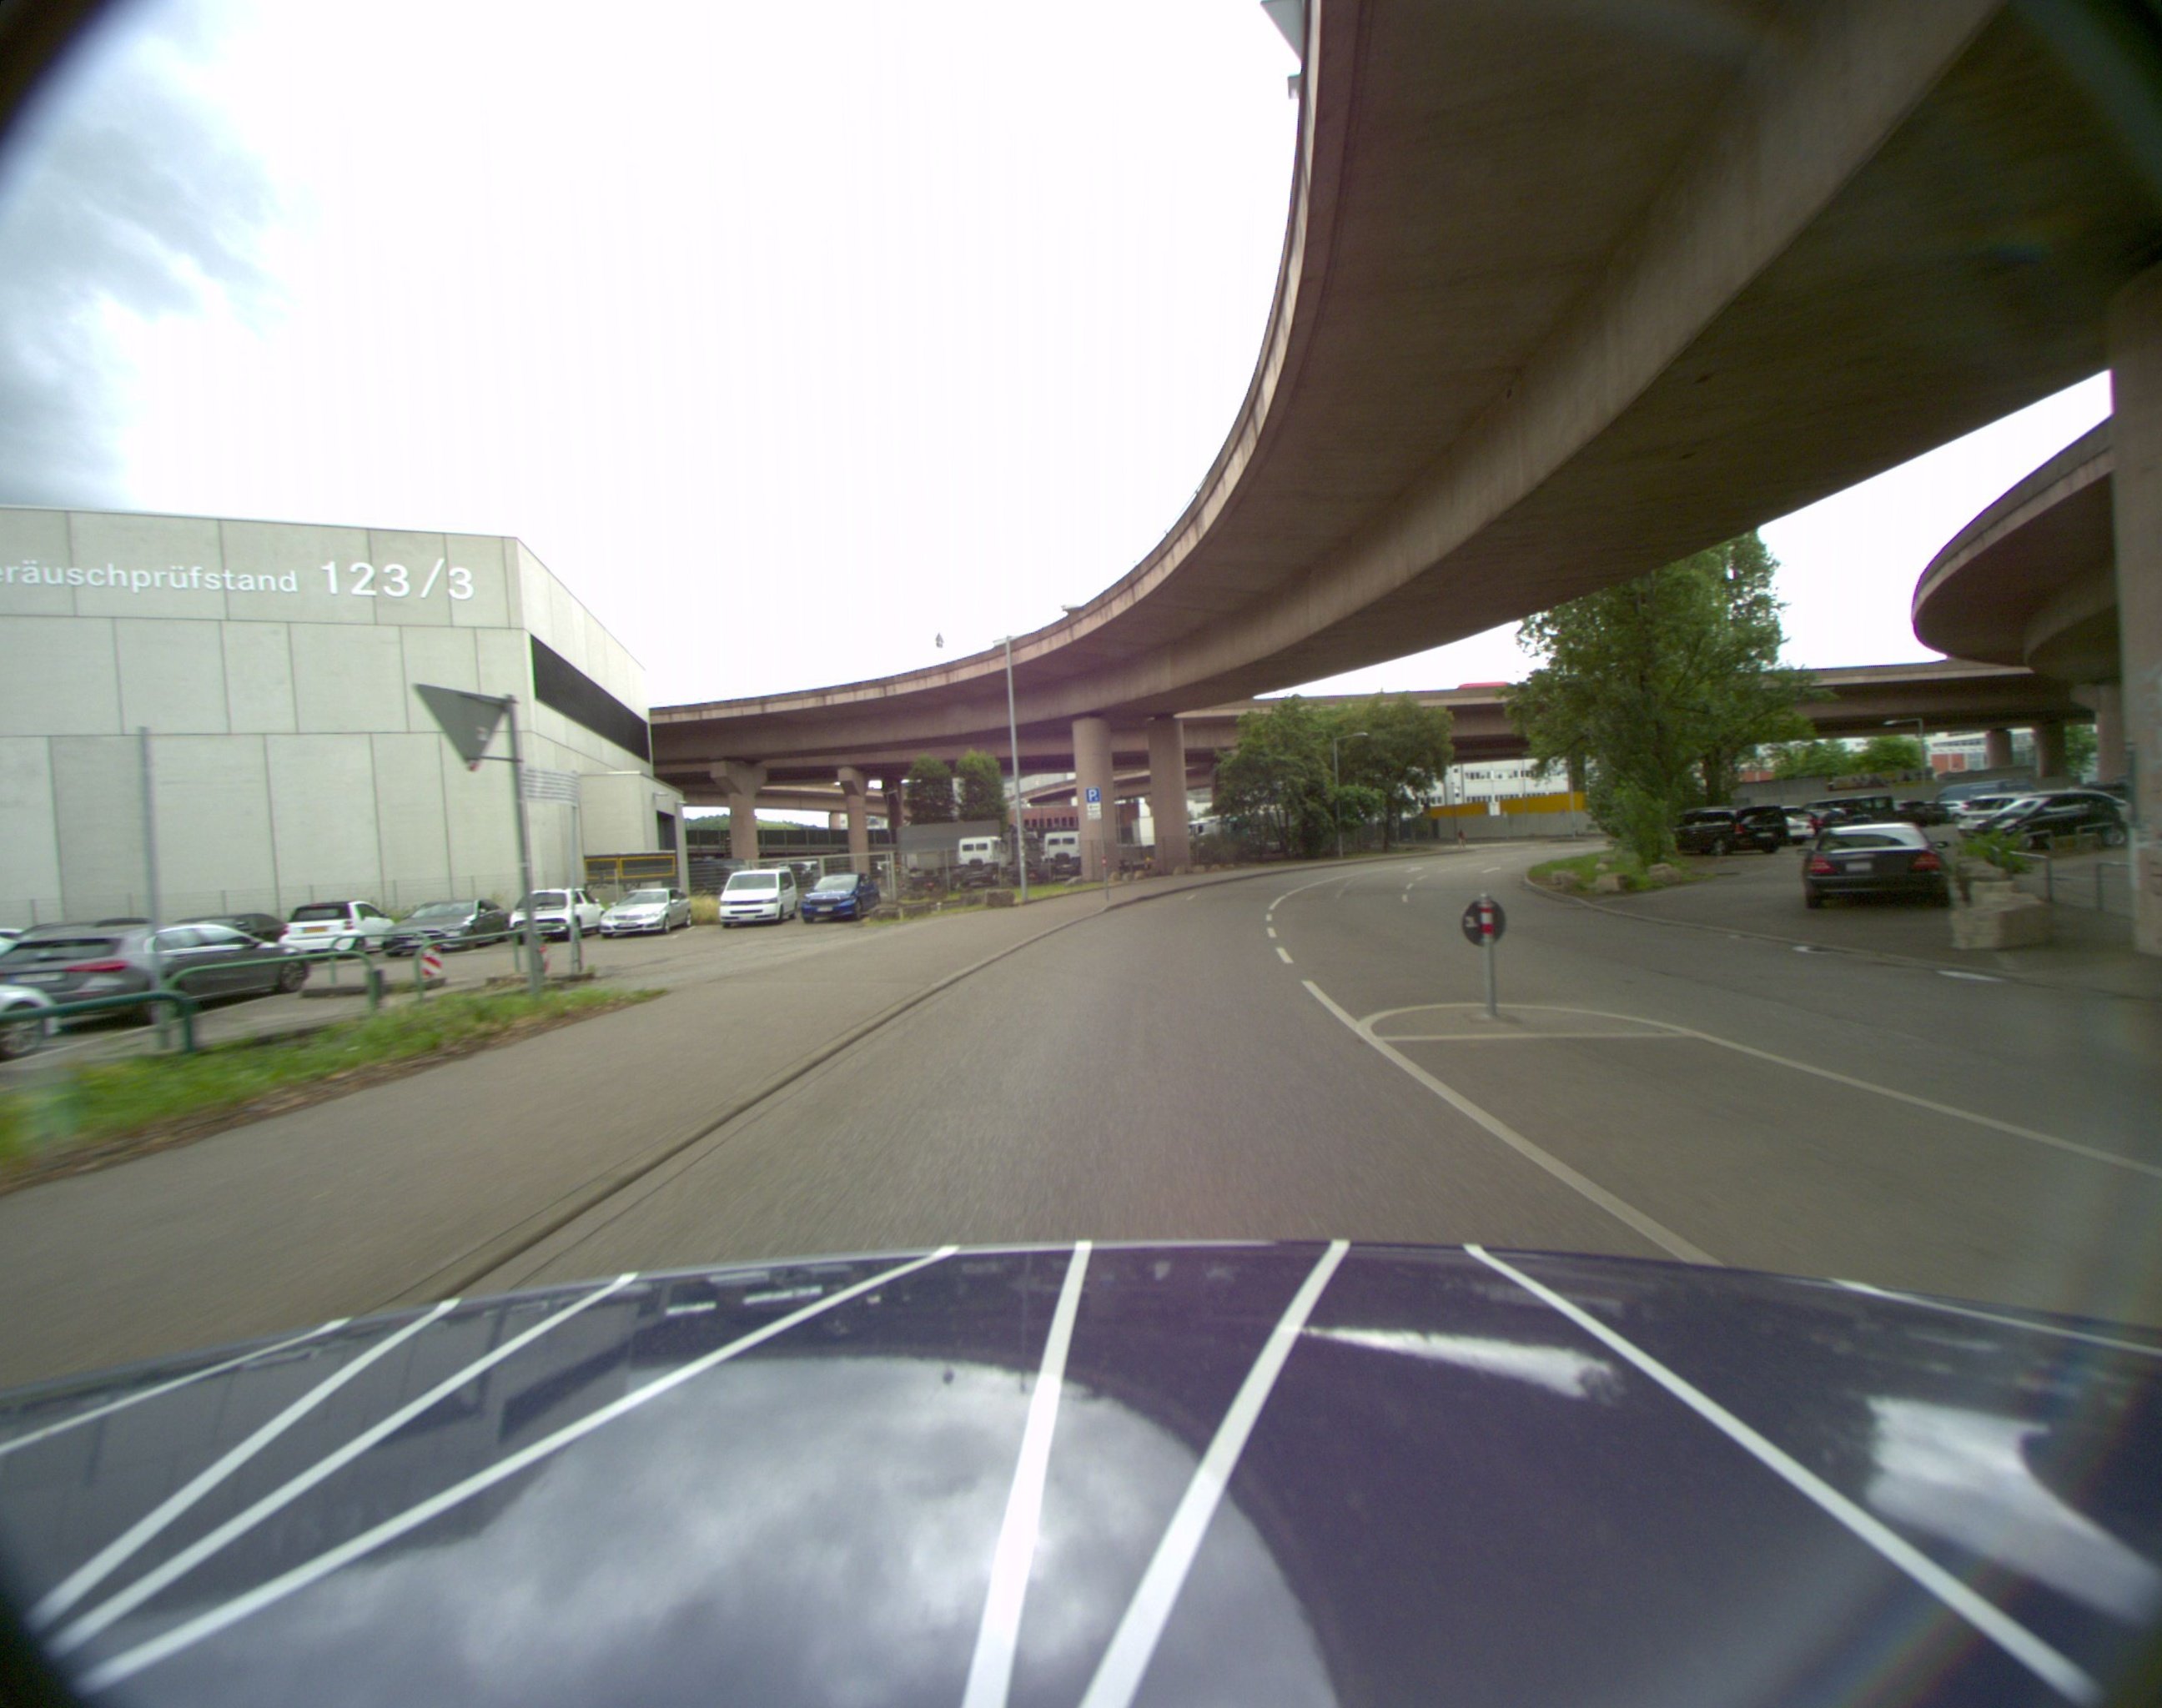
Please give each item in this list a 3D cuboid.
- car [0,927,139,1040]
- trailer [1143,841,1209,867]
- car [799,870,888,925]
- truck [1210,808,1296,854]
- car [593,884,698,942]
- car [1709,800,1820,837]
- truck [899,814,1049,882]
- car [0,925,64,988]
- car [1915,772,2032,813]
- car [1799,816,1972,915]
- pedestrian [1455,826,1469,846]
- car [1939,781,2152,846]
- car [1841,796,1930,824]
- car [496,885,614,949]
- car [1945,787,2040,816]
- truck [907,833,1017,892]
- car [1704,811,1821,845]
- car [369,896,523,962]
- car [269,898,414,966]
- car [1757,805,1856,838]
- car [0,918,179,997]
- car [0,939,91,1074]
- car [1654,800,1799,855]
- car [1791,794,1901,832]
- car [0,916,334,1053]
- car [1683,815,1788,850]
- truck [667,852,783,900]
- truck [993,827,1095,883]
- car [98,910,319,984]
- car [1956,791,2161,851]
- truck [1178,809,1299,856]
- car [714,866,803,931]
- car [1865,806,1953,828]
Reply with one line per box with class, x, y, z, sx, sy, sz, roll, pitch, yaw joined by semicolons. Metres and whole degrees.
car;-17.122;2.079;11.193;1.840;1.504;4.494;-3;0;-18
trailer;5.979;-0.024;47.396;4.390;1.324;1.601;-4;2;-44
car;-8.398;1.482;27.324;1.774;1.625;4.684;-3;0;-2
truck;13.944;-1.857;61.731;6.415;3.389;2.267;-3;2;-15
car;-13.940;1.826;24.626;1.776;1.448;4.549;-3;0;-15
car;34.298;-1.763;38.320;1.694;1.664;4.678;-3;2;5
truck;-7.869;-0.474;55.841;10.142;4.340;3.908;-3;0;-18
car;-27.852;2.685;18.433;1.777;1.448;4.353;-3;0;-23
car;59.220;-4.019;50.612;1.826;2.567;5.688;-1;3;10
car;14.602;0.148;13.893;4.782;1.422;1.824;-4;-1;-44
pedestrian;32.774;-1.550;65.437;0.856;1.671;0.752;-5;2;-40
car;30.249;-1.240;23.947;4.058;1.697;1.736;-3;1;8
car;47.471;-2.608;44.917;1.355;1.556;3.626;-2;3;0
car;-16.131;1.860;23.552;1.777;1.579;4.354;-3;0;-19
car;62.003;-3.574;51.815;1.632;1.846;4.493;-1;3;10
truck;-6.352;0.379;41.426;2.453;2.869;6.129;-3;1;31
car;31.270;-1.168;35.069;1.694;1.356;4.517;-3;1;7
car;-17.931;2.049;21.746;1.777;1.376;4.355;-3;0;-17
car;-20.780;2.131;21.516;1.624;1.535;3.093;-3;0;-17
car;36.597;-1.621;38.443;1.694;1.528;3.628;-3;2;5
car;-25.254;2.513;18.916;1.777;1.448;4.353;-3;0;-23
car;-12.996;1.840;7.285;1.859;1.466;4.680;-3;0;-18
car;25.563;-1.036;30.384;1.855;1.906;4.974;-3;1;5
car;42.674;-2.297;42.572;1.853;2.003;4.723;-1;3;9
car;-14.632;1.925;12.243;1.840;1.417;4.435;-3;0;-18
car;28.366;-0.934;33.088;1.563;1.372;3.705;-3;1;5
truck;-25.465;1.562;54.748;6.933;2.915;3.047;-3;0;-15
truck;-1.849;-0.019;41.963;2.419;2.728;7.246;-3;0;25
car;-22.980;2.371;20.314;1.777;1.376;4.355;-3;0;-17
car;28.471;-0.930;22.033;3.862;1.456;1.540;-3;1;15
truck;13.496;-1.897;64.933;10.222;3.479;2.267;-3;2;-17
car;-11.249;1.466;26.836;1.894;1.945;4.675;-3;0;-12
car;50.362;-2.248;46.292;1.355;1.227;3.626;-2;3;0
